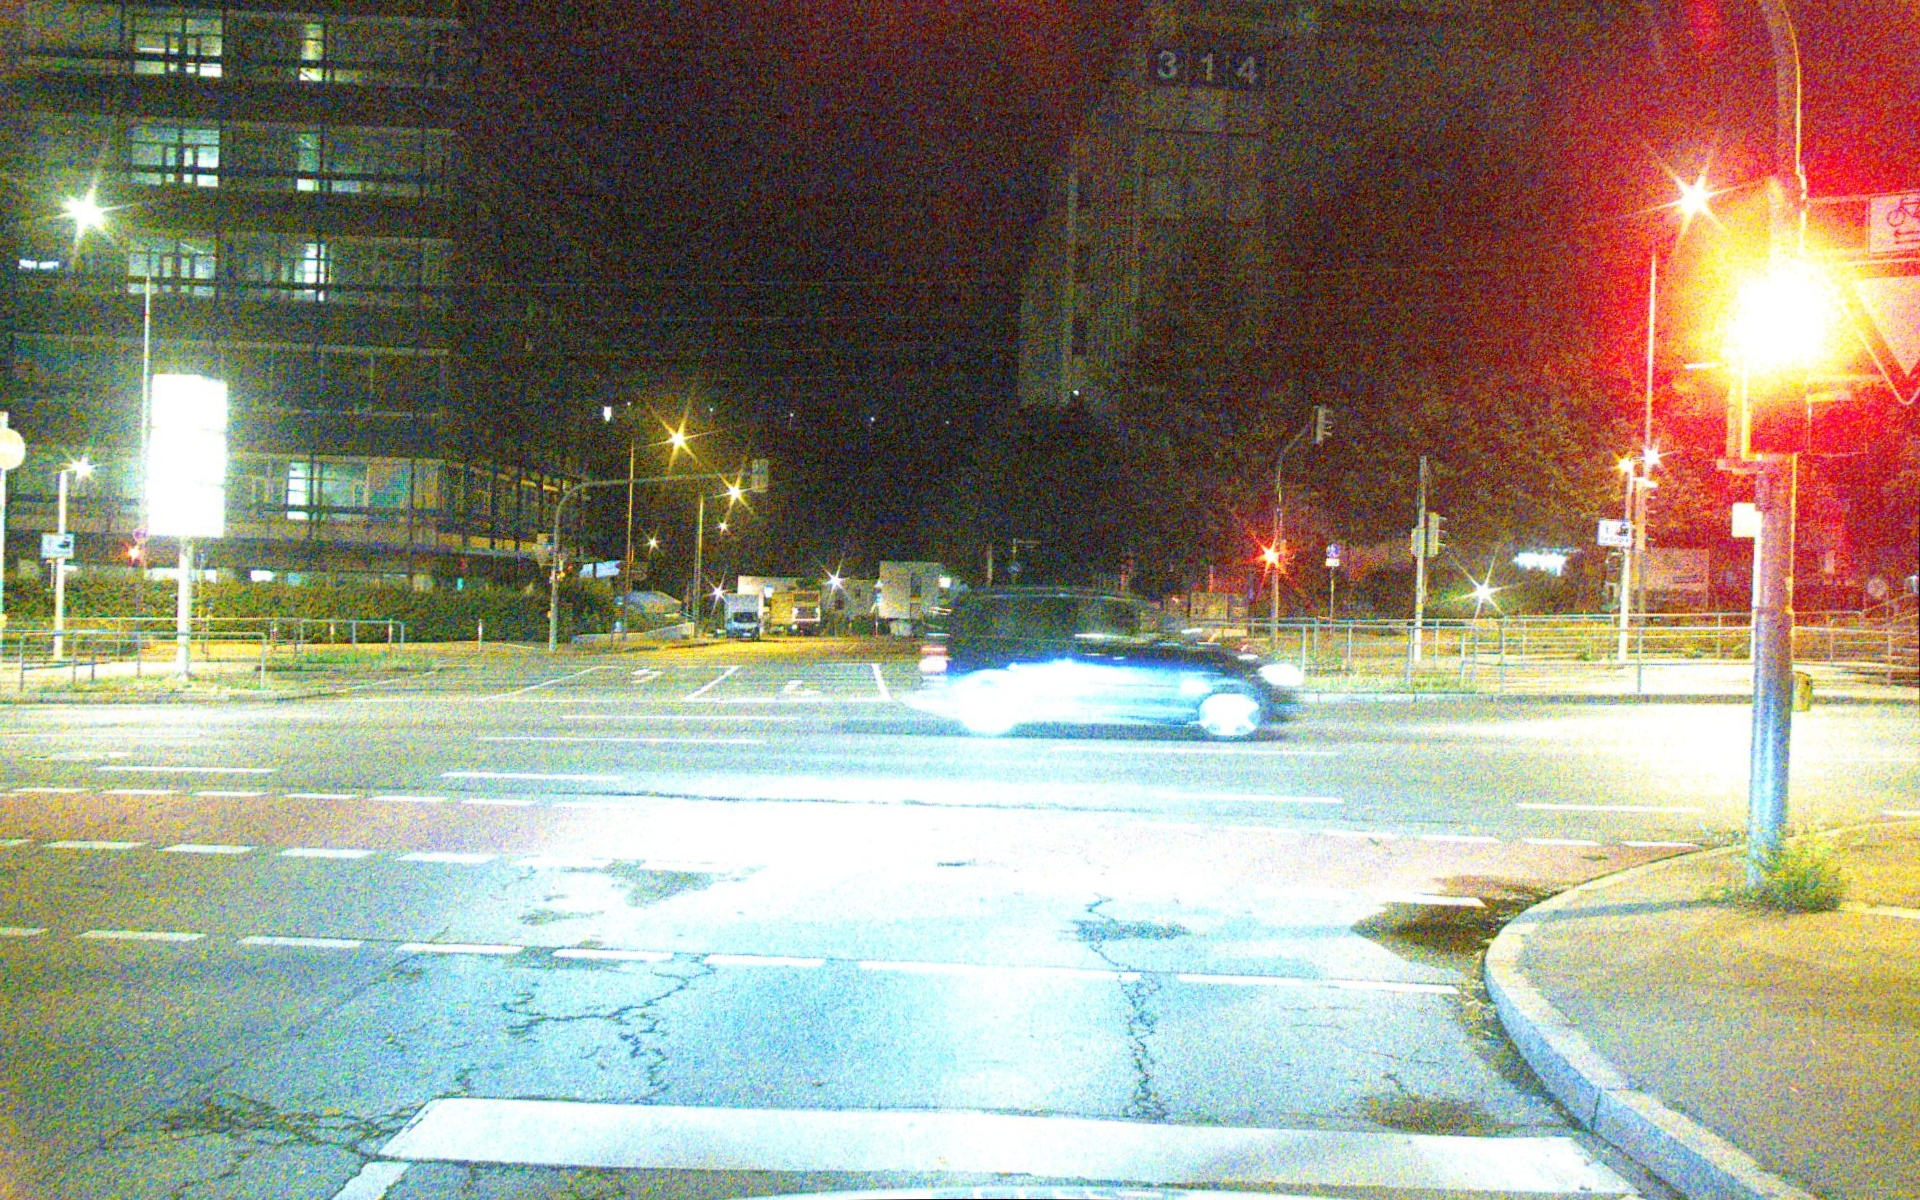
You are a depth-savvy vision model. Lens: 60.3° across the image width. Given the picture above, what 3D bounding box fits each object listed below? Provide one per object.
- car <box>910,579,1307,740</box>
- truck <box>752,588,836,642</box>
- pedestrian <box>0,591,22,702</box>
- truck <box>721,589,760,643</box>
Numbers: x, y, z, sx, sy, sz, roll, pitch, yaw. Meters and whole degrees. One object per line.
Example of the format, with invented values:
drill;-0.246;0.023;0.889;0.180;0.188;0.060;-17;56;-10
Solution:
car;1.630;0.636;18.772;4.252;1.680;1.810;1;0;2
truck;-15.294;1.302;150.971;4.751;4.627;12.593;1;0;-19
pedestrian;-14.704;0.692;24.921;0.656;1.663;0.862;1;-1;-5
truck;-15.816;1.133;118.793;2.535;3.772;5.724;1;0;-9
